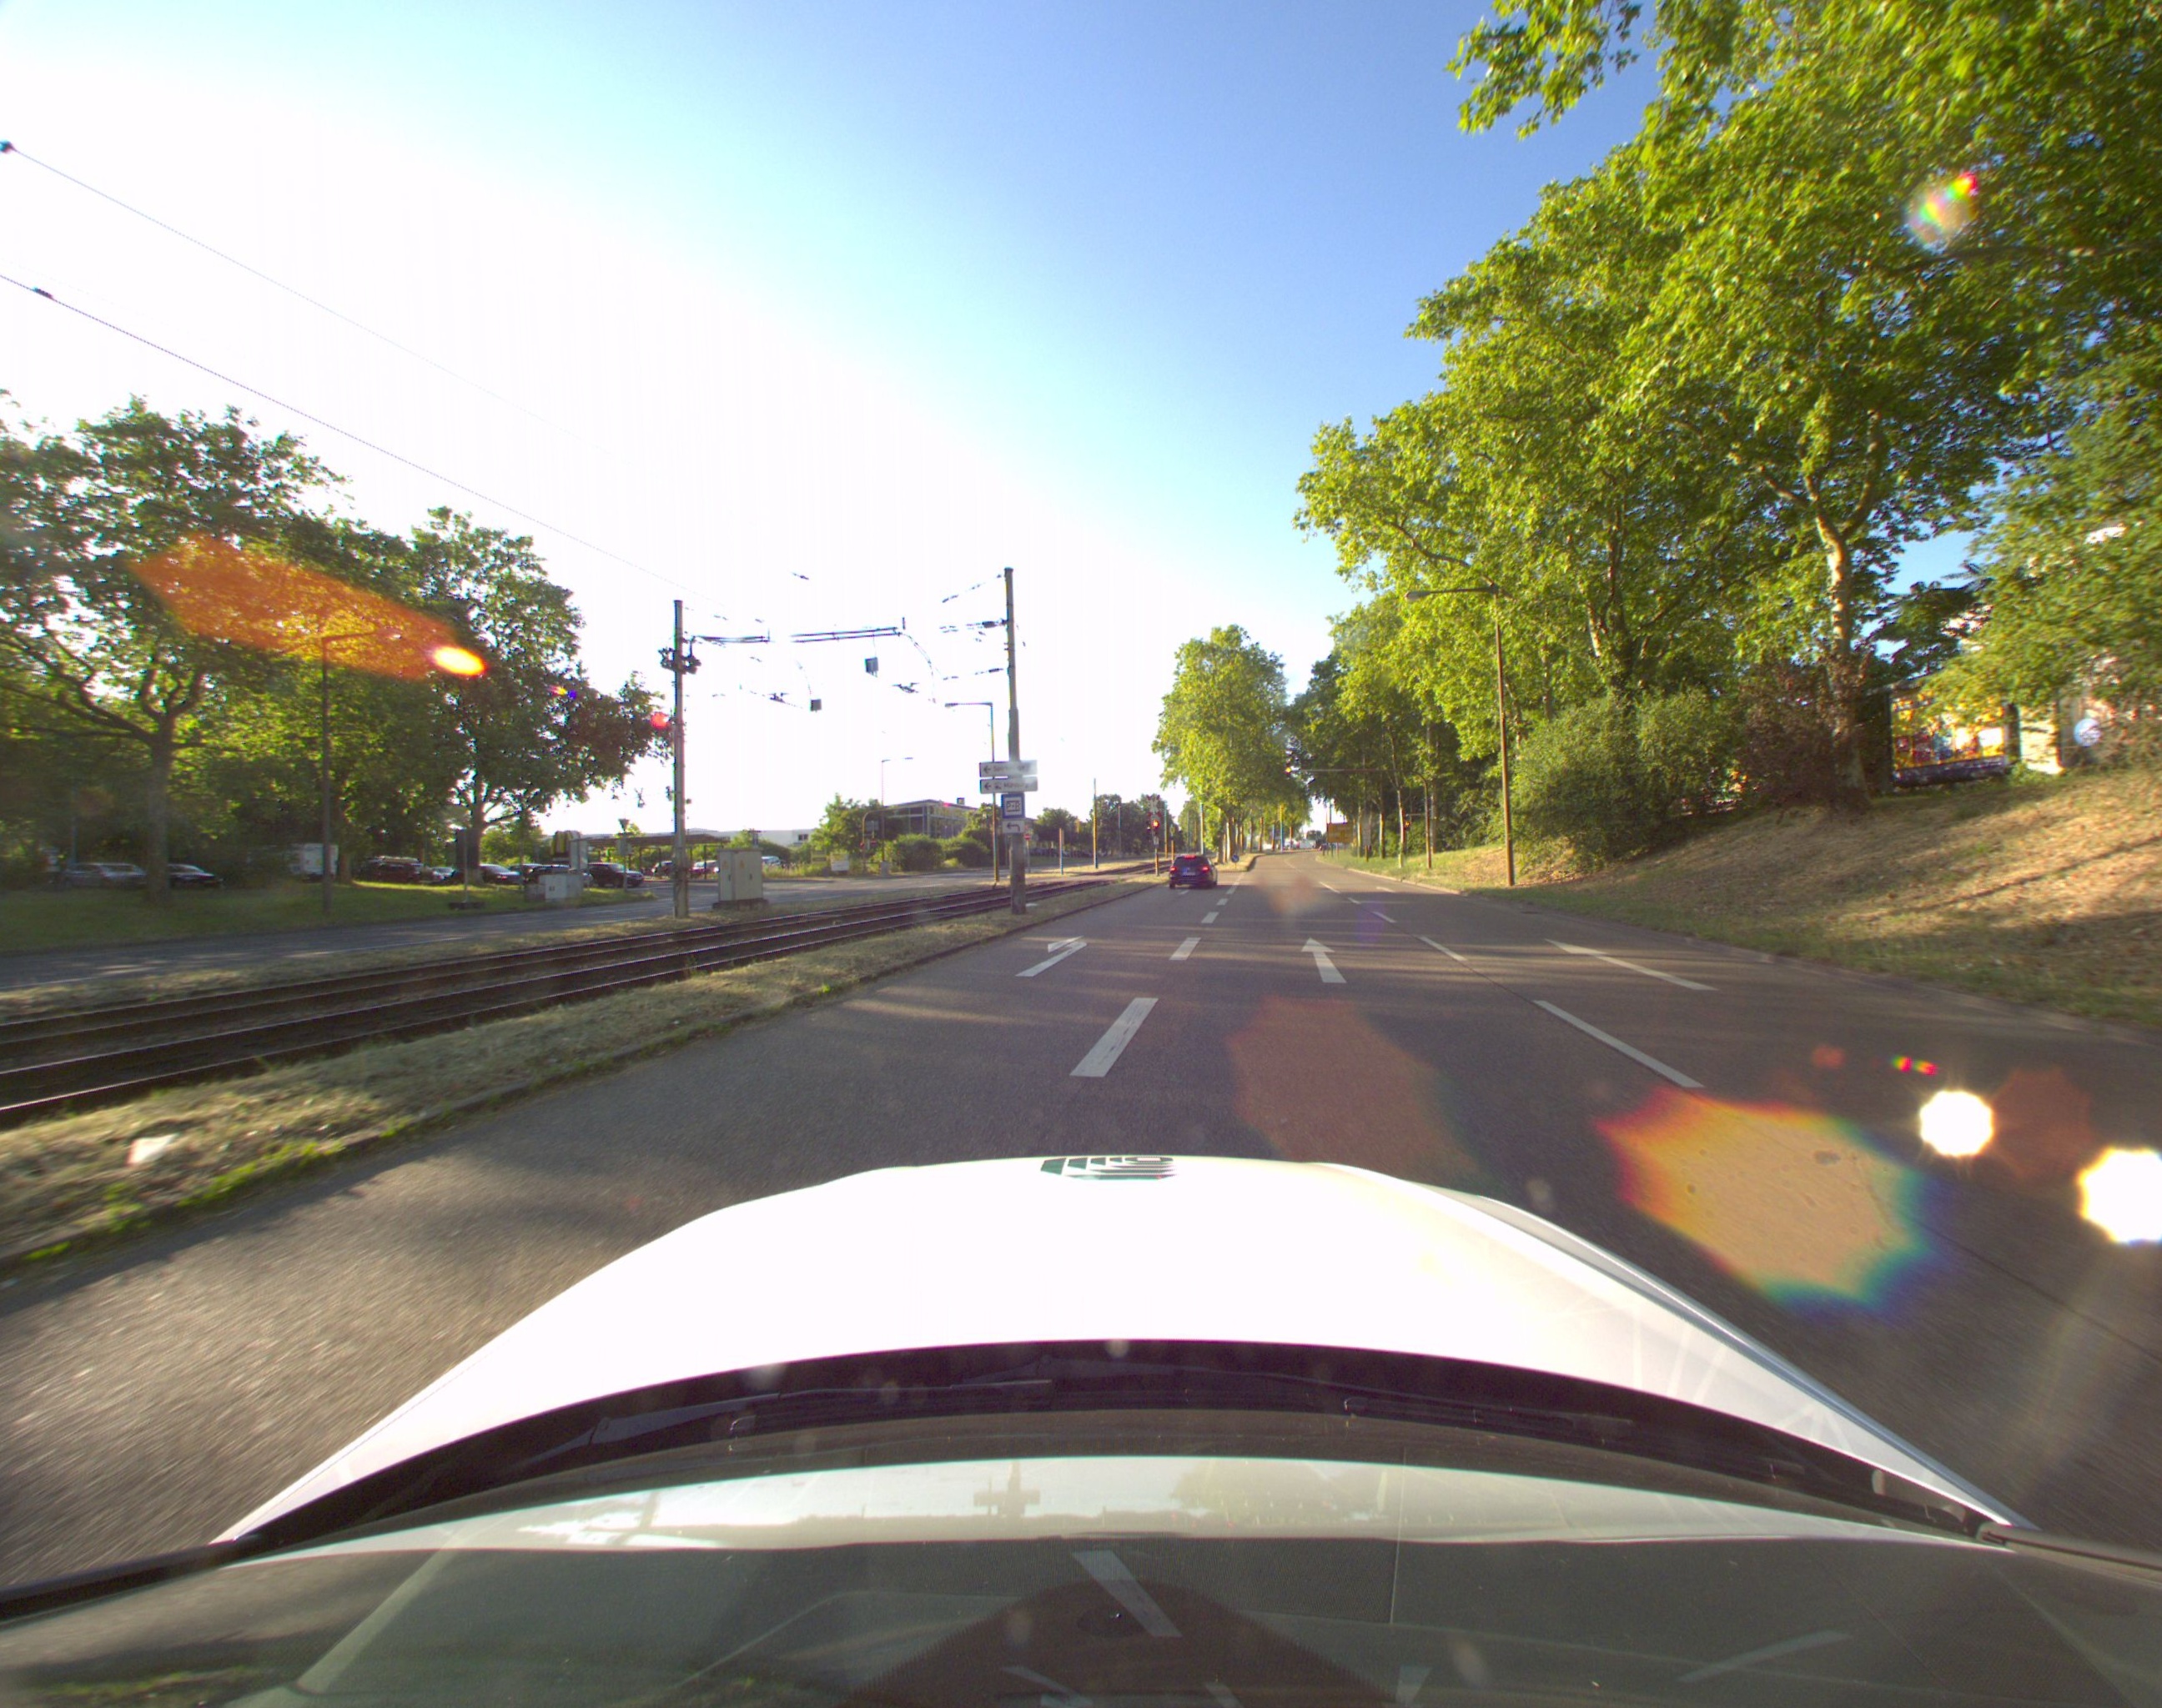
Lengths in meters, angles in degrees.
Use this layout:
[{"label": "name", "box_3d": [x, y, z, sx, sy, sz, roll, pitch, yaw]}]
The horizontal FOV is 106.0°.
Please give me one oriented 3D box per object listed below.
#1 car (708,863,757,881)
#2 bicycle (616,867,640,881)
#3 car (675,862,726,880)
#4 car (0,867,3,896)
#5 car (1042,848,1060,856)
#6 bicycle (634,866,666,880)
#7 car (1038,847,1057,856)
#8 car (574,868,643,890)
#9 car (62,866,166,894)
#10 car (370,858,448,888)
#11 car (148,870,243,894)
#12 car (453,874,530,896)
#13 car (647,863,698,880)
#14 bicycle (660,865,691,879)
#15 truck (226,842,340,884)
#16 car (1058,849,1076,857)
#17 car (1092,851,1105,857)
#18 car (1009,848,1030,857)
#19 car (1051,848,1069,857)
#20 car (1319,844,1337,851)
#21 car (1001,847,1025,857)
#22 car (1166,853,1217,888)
[{"label": "car", "box_3d": [-30.270, 1.527, 70.855, 1.827, 1.442, 4.017, -1, 0, 15]}, {"label": "bicycle", "box_3d": [-36.824, 1.585, 66.204, 0.663, 1.065, 2.194, -1, 0, 3]}, {"label": "car", "box_3d": [-33.534, 1.473, 71.905, 1.827, 1.442, 4.017, -1, 0, 15]}, {"label": "car", "box_3d": [-59.862, 1.492, 43.146, 3.957, 1.530, 1.931, -1, 0, 15]}, {"label": "car", "box_3d": [-5.453, -0.326, 148.639, 3.123, 1.490, 1.459, -1, 0, 9]}, {"label": "bicycle", "box_3d": [-34.912, 1.559, 65.993, 0.659, 1.065, 2.205, -1, 0, 43]}, {"label": "car", "box_3d": [-6.009, -0.444, 144.899, 3.123, 1.490, 1.459, -1, 0, 9]}, {"label": "car", "box_3d": [-31.640, 1.661, 54.551, 4.022, 1.387, 1.793, -1, 0, 19]}, {"label": "car", "box_3d": [-49.372, 1.320, 41.594, 3.961, 1.372, 1.679, -1, 0, 11]}, {"label": "car", "box_3d": [-44.363, 1.235, 53.802, 3.957, 1.860, 2.008, -2, 0, 15]}, {"label": "car", "box_3d": [-48.681, 1.534, 44.806, 3.961, 1.260, 1.679, -1, 0, 11]}, {"label": "car", "box_3d": [-38.155, 2.000, 52.736, 4.026, 1.387, 1.791, -1, 0, 14]}, {"label": "car", "box_3d": [-36.616, 1.524, 73.066, 1.827, 1.442, 4.017, -1, 0, 15]}, {"label": "bicycle", "box_3d": [-32.270, 1.420, 64.884, 0.659, 1.065, 2.206, -1, 0, 30]}, {"label": "truck", "box_3d": [-66.462, 0.754, 67.845, 8.230, 3.388, 2.744, -1, 0, 13]}, {"label": "car", "box_3d": [-2.717, -0.239, 157.887, 3.123, 1.490, 1.459, -1, 0, 9]}, {"label": "car", "box_3d": [4.287, -0.001, 199.863, 3.123, 1.490, 1.459, -1, 0, 9]}, {"label": "car", "box_3d": [-9.804, -0.246, 130.522, 3.123, 1.490, 1.459, -1, 0, 9]}, {"label": "car", "box_3d": [-3.958, -0.280, 154.698, 3.123, 1.490, 1.459, -1, 0, 9]}, {"label": "car", "box_3d": [53.321, -1.429, 175.608, 3.705, 1.403, 1.778, -1, -1, -37]}, {"label": "car", "box_3d": [-9.618, -0.271, 115.768, 3.123, 1.391, 1.459, -1, 0, 9]}, {"label": "car", "box_3d": [4.753, 0.672, 34.642, 1.780, 1.403, 3.702, -1, 0, 14]}]
